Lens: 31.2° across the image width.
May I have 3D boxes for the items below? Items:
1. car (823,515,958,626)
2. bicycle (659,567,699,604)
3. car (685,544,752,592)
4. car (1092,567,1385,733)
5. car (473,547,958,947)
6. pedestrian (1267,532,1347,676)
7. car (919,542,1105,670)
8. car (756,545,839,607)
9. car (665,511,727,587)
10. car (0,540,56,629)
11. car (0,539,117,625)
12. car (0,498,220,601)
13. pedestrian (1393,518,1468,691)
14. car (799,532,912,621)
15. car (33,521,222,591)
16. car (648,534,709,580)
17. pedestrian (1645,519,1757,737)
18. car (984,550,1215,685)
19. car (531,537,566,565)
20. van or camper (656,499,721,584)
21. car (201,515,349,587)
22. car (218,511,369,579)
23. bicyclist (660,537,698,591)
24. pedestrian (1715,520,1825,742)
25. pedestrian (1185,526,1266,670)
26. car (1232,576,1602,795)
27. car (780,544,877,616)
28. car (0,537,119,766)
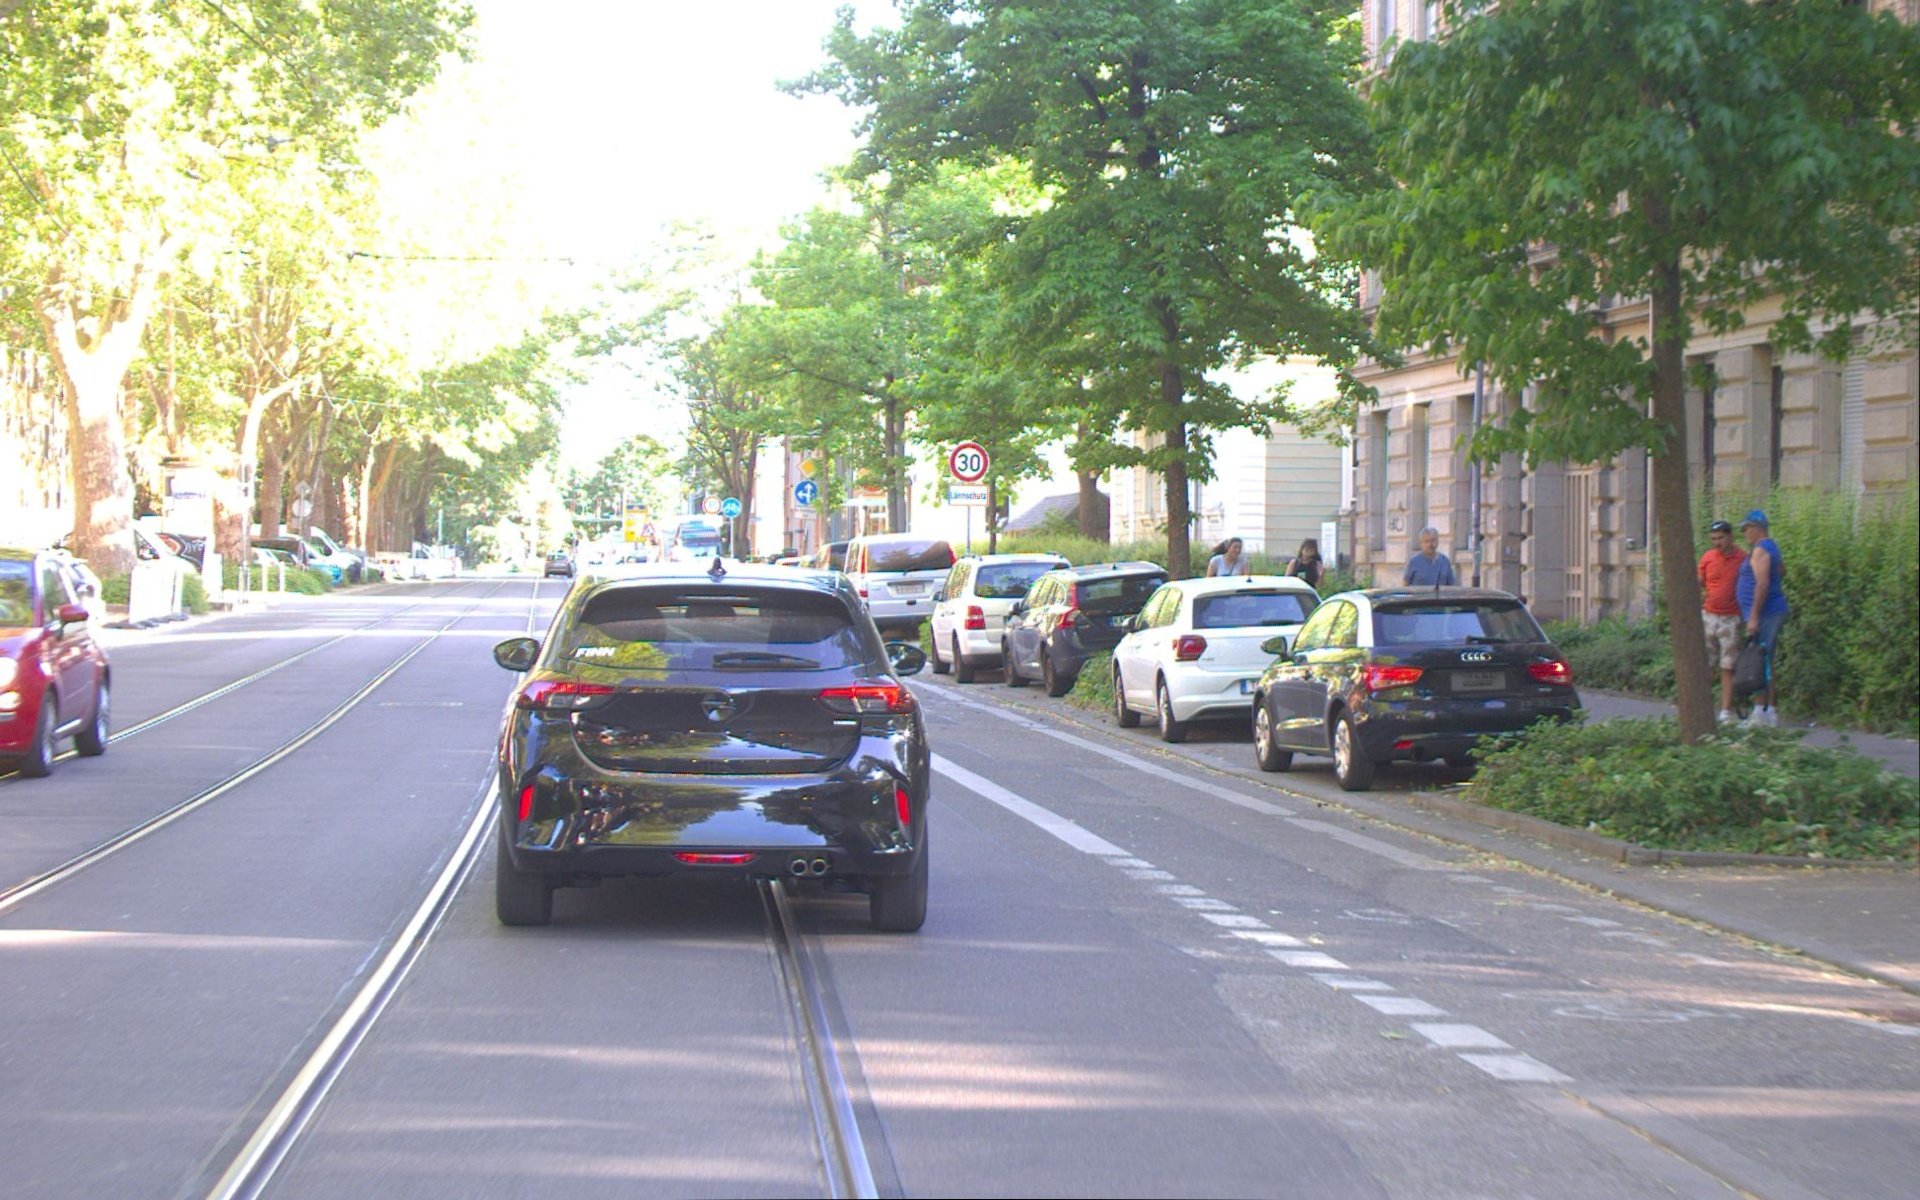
[{"bbox_3d":[-1.292,-0.534,61.519,1.883,1.845,4.968,-2,1,-7],"label":"car"},{"bbox_3d":[-7.952,-0.424,97.231,0.967,0.995,2.584,1,1,-8],"label":"bicycle"},{"bbox_3d":[-7.795,-1.038,110.726,1.883,1.429,4.531,-2,1,-7],"label":"car"},{"bbox_3d":[2.494,0.410,31.836,1.883,1.363,4.108,-2,1,-7],"label":"car"},{"bbox_3d":[-1.133,0.527,14.745,1.763,1.455,3.951,1,1,-7],"label":"car"},{"bbox_3d":[4.186,0.048,41.482,0.726,1.703,0.856,1,0,-8],"label":"pedestrian"},{"bbox_3d":[0.637,0.050,45.795,1.883,1.562,4.243,-2,1,-7],"label":"car"},{"bbox_3d":[-4.036,-0.605,84.945,1.702,1.418,3.979,-3,1,-7],"label":"car"},{"bbox_3d":[-9.838,-1.913,127.970,2.084,2.762,4.698,-1,1,-7],"label":"car"},{"bbox_3d":[-17.150,-0.303,57.942,3.419,1.460,1.760,1,0,-4],"label":"car"},{"bbox_3d":[-17.088,-0.347,60.815,3.986,1.460,1.855,1,1,-7],"label":"car"},{"bbox_3d":[-19.902,-1.184,80.139,5.031,2.251,2.086,1,1,-10],"label":"car"},{"bbox_3d":[4.950,0.043,36.146,0.726,1.787,0.600,2,0,9],"label":"pedestrian"},{"bbox_3d":[-2.176,-0.491,70.417,1.885,1.760,4.679,0,1,-7],"label":"car"},{"bbox_3d":[-20.178,-1.066,83.496,4.298,1.601,1.926,1,1,-9],"label":"car"},{"bbox_3d":[-11.613,-1.761,141.627,2.253,1.834,5.532,-1,1,-7],"label":"car"},{"bbox_3d":[6.217,0.227,28.829,0.727,1.787,0.599,2,0,30],"label":"pedestrian"},{"bbox_3d":[1.600,0.170,41.152,1.883,1.462,4.595,-2,1,-8],"label":"car"},{"bbox_3d":[-27.620,-3.258,230.618,2.253,1.834,5.532,-1,1,-7],"label":"car"},{"bbox_3d":[-10.648,-2.276,134.483,2.253,3.205,5.532,-1,1,-7],"label":"van or camper"},{"bbox_3d":[-25.021,-1.784,125.649,5.035,2.366,2.082,-3,1,-6],"label":"car"},{"bbox_3d":[-26.778,-2.200,138.246,5.638,2.584,2.196,1,0,-3],"label":"car"},{"bbox_3d":[-7.940,-1.027,97.202,0.958,1.494,1.094,1,0,-8],"label":"bicyclist"},{"bbox_3d":[6.643,0.246,28.208,0.598,1.787,0.728,1,0,-9],"label":"pedestrian"},{"bbox_3d":[3.190,-0.028,41.348,0.726,1.687,0.957,1,0,-9],"label":"pedestrian"},{"bbox_3d":[3.275,0.568,25.340,1.672,1.407,3.844,-2,1,-8],"label":"car"},{"bbox_3d":[-2.938,-0.453,76.163,1.711,1.509,4.038,-2,1,-8],"label":"car"},{"bbox_3d":[-6.758,0.300,23.197,1.660,1.439,3.474,0,1,-6],"label":"car"}]
